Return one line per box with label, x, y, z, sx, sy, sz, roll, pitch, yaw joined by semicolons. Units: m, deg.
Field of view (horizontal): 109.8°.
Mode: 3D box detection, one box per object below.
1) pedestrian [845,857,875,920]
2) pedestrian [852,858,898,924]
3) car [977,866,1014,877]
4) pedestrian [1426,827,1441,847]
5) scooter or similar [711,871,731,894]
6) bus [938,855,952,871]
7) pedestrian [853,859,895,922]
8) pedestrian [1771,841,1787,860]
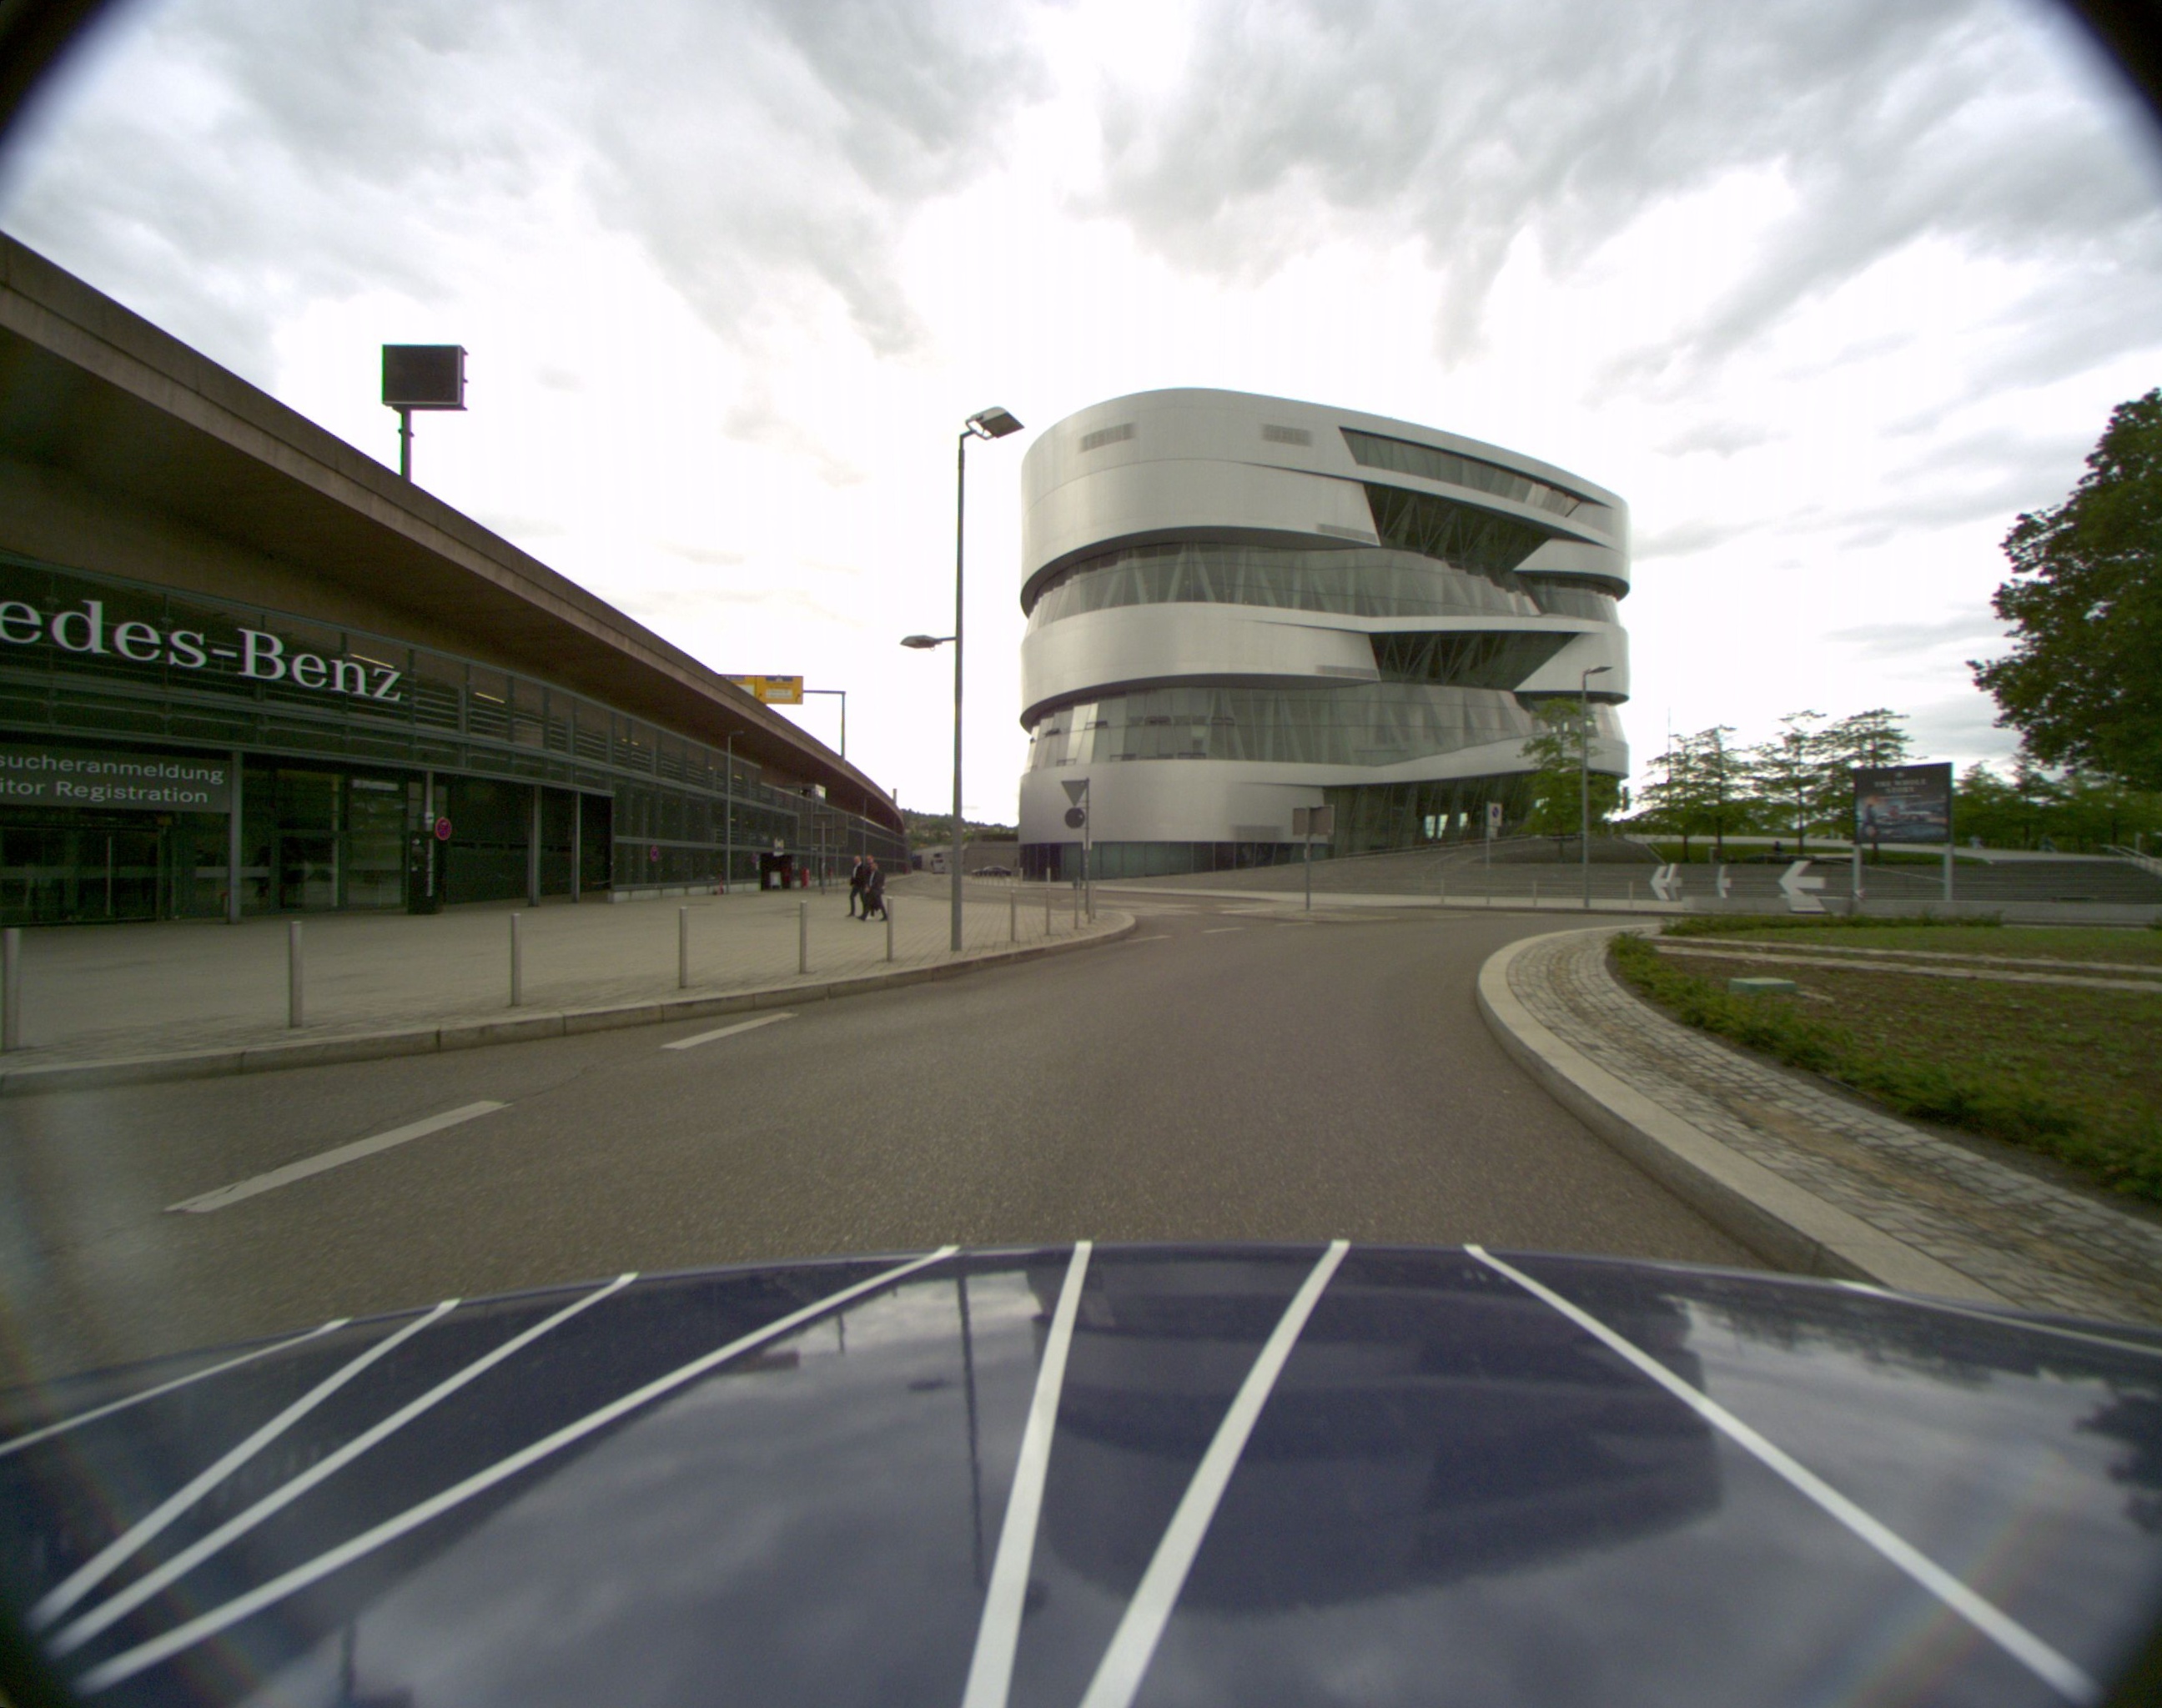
pedestrian;-6.390;0.996;21.990;0.783;1.787;0.864;1;-1;-16
pedestrian;-5.449;0.970;20.103;0.863;1.694;0.774;0;-2;37
car;-11.568;2.335;102.310;4.907;1.389;1.534;1;-1;-7
pedestrian;34.799;-1.651;74.952;0.953;1.913;0.851;-4;0;-24
scooter or similar;-17.526;1.392;37.048;0.381;1.116;1.428;1;-2;-4
bus;-31.647;2.149;176.771;2.933;3.420;6.962;1;-2;-11
pedestrian;-5.787;1.011;21.236;0.785;1.694;0.774;0;-2;40
pedestrian;50.189;-0.251;54.655;0.789;1.378;0.684;0;-2;38
